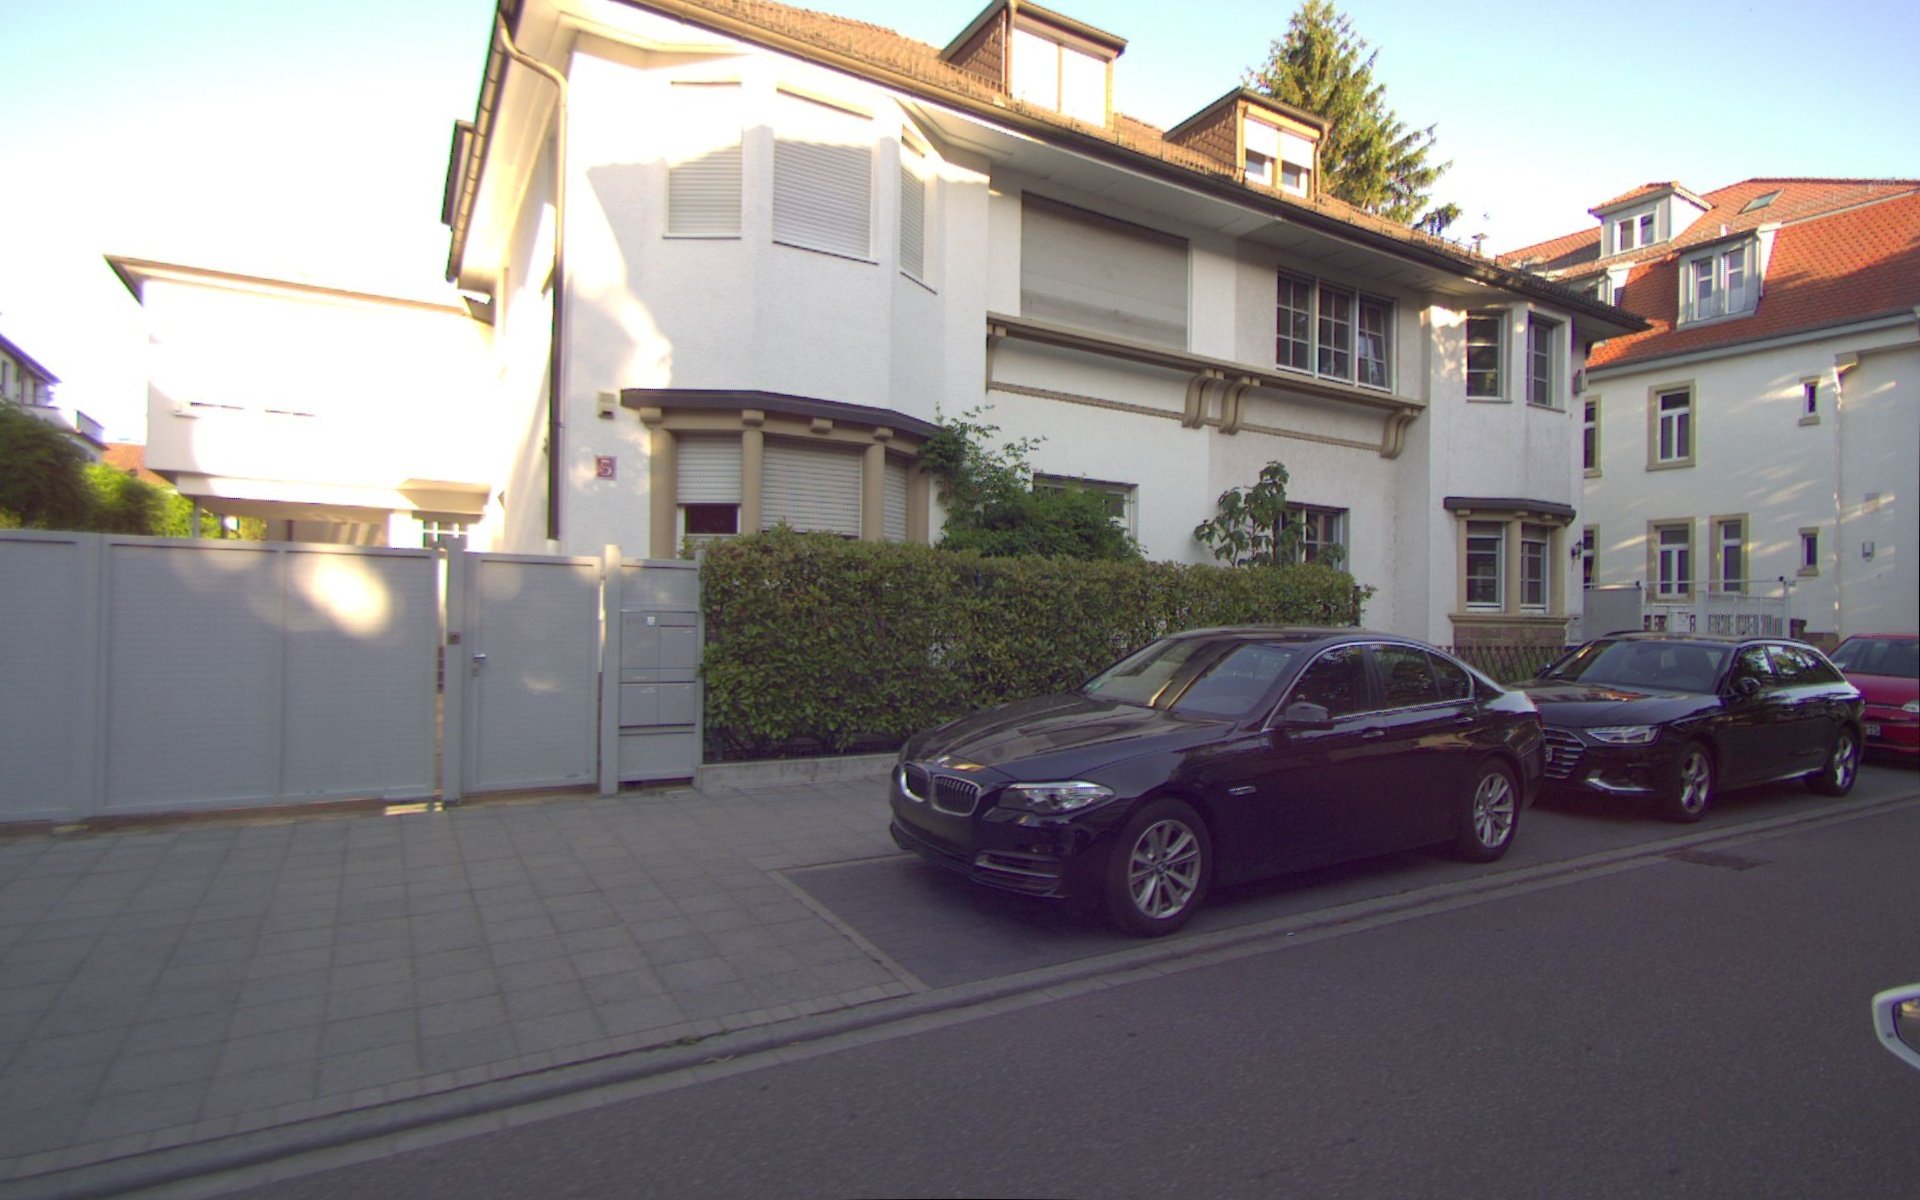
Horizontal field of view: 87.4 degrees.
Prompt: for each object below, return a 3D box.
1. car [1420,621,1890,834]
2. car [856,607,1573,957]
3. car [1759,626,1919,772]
[{"bbox_3d":[6.492,1.009,9.244,4.645,1.517,1.775,2,-1,-30],"label":"car"},{"bbox_3d":[1.815,0.864,6.433,4.606,1.517,1.843,2,-1,-34],"label":"car"},{"bbox_3d":[11.419,1.116,12.050,3.710,1.508,1.651,2,-1,-30],"label":"car"}]
